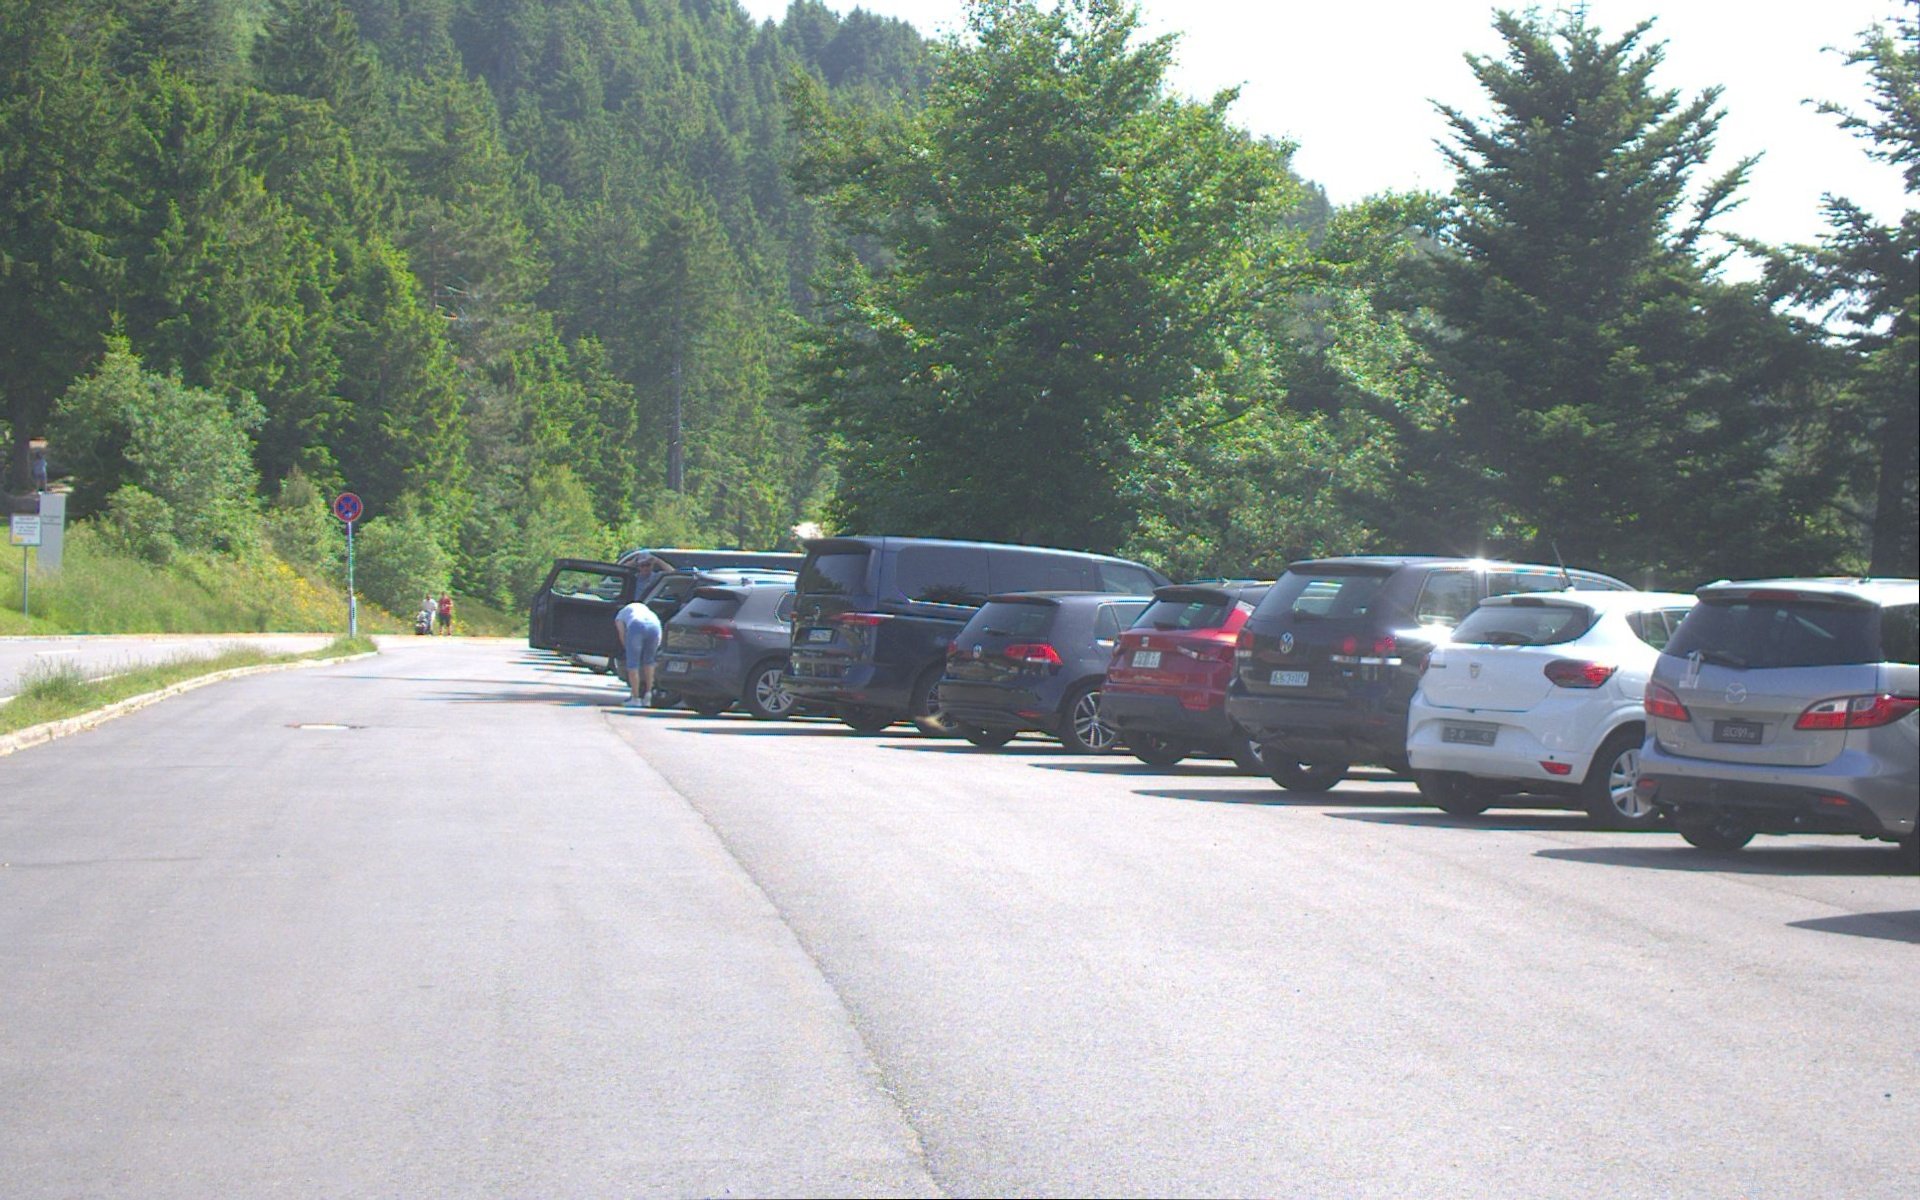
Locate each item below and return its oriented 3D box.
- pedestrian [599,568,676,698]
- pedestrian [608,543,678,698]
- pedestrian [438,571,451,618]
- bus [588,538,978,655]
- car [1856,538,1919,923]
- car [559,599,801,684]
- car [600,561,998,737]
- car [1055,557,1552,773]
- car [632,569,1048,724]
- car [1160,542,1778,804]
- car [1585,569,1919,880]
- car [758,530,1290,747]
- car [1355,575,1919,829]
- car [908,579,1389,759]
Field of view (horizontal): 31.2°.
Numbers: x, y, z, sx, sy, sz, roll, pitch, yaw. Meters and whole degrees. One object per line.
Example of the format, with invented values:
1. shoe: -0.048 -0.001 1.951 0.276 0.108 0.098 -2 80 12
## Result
1. pedestrian: -3.551 0.360 37.899 0.773 1.398 0.669 -1 2 -1
2. pedestrian: -3.705 0.237 40.119 0.578 1.755 0.633 4 -1 -19
3. pedestrian: -19.329 -0.218 128.967 0.395 1.741 0.406 1 1 5
4. bus: -6.003 -0.163 117.014 12.866 3.566 2.981 1 2 10
5. car: 6.201 0.652 16.177 4.215 1.689 1.863 2 1 -44
6. car: -5.581 0.823 68.567 4.452 1.294 1.582 5 -1 -23
7. car: -1.825 0.565 39.437 3.987 1.656 2.000 6 -2 -34
8. car: 2.872 0.557 28.228 3.989 1.584 1.863 3 0 -44
9. car: -1.274 0.503 36.810 3.986 1.438 1.840 3 0 -28
10. car: 3.726 0.549 24.820 4.260 1.689 1.990 3 0 -39
11. car: 5.548 0.704 19.709 3.989 1.543 1.819 3 0 -44
12. car: 0.639 0.380 33.777 4.756 1.873 1.967 3 0 -26
13. car: 4.718 0.685 22.526 3.987 1.471 1.768 3 0 -34
14. car: 1.713 0.627 30.720 3.987 1.410 1.744 3 0 -34
